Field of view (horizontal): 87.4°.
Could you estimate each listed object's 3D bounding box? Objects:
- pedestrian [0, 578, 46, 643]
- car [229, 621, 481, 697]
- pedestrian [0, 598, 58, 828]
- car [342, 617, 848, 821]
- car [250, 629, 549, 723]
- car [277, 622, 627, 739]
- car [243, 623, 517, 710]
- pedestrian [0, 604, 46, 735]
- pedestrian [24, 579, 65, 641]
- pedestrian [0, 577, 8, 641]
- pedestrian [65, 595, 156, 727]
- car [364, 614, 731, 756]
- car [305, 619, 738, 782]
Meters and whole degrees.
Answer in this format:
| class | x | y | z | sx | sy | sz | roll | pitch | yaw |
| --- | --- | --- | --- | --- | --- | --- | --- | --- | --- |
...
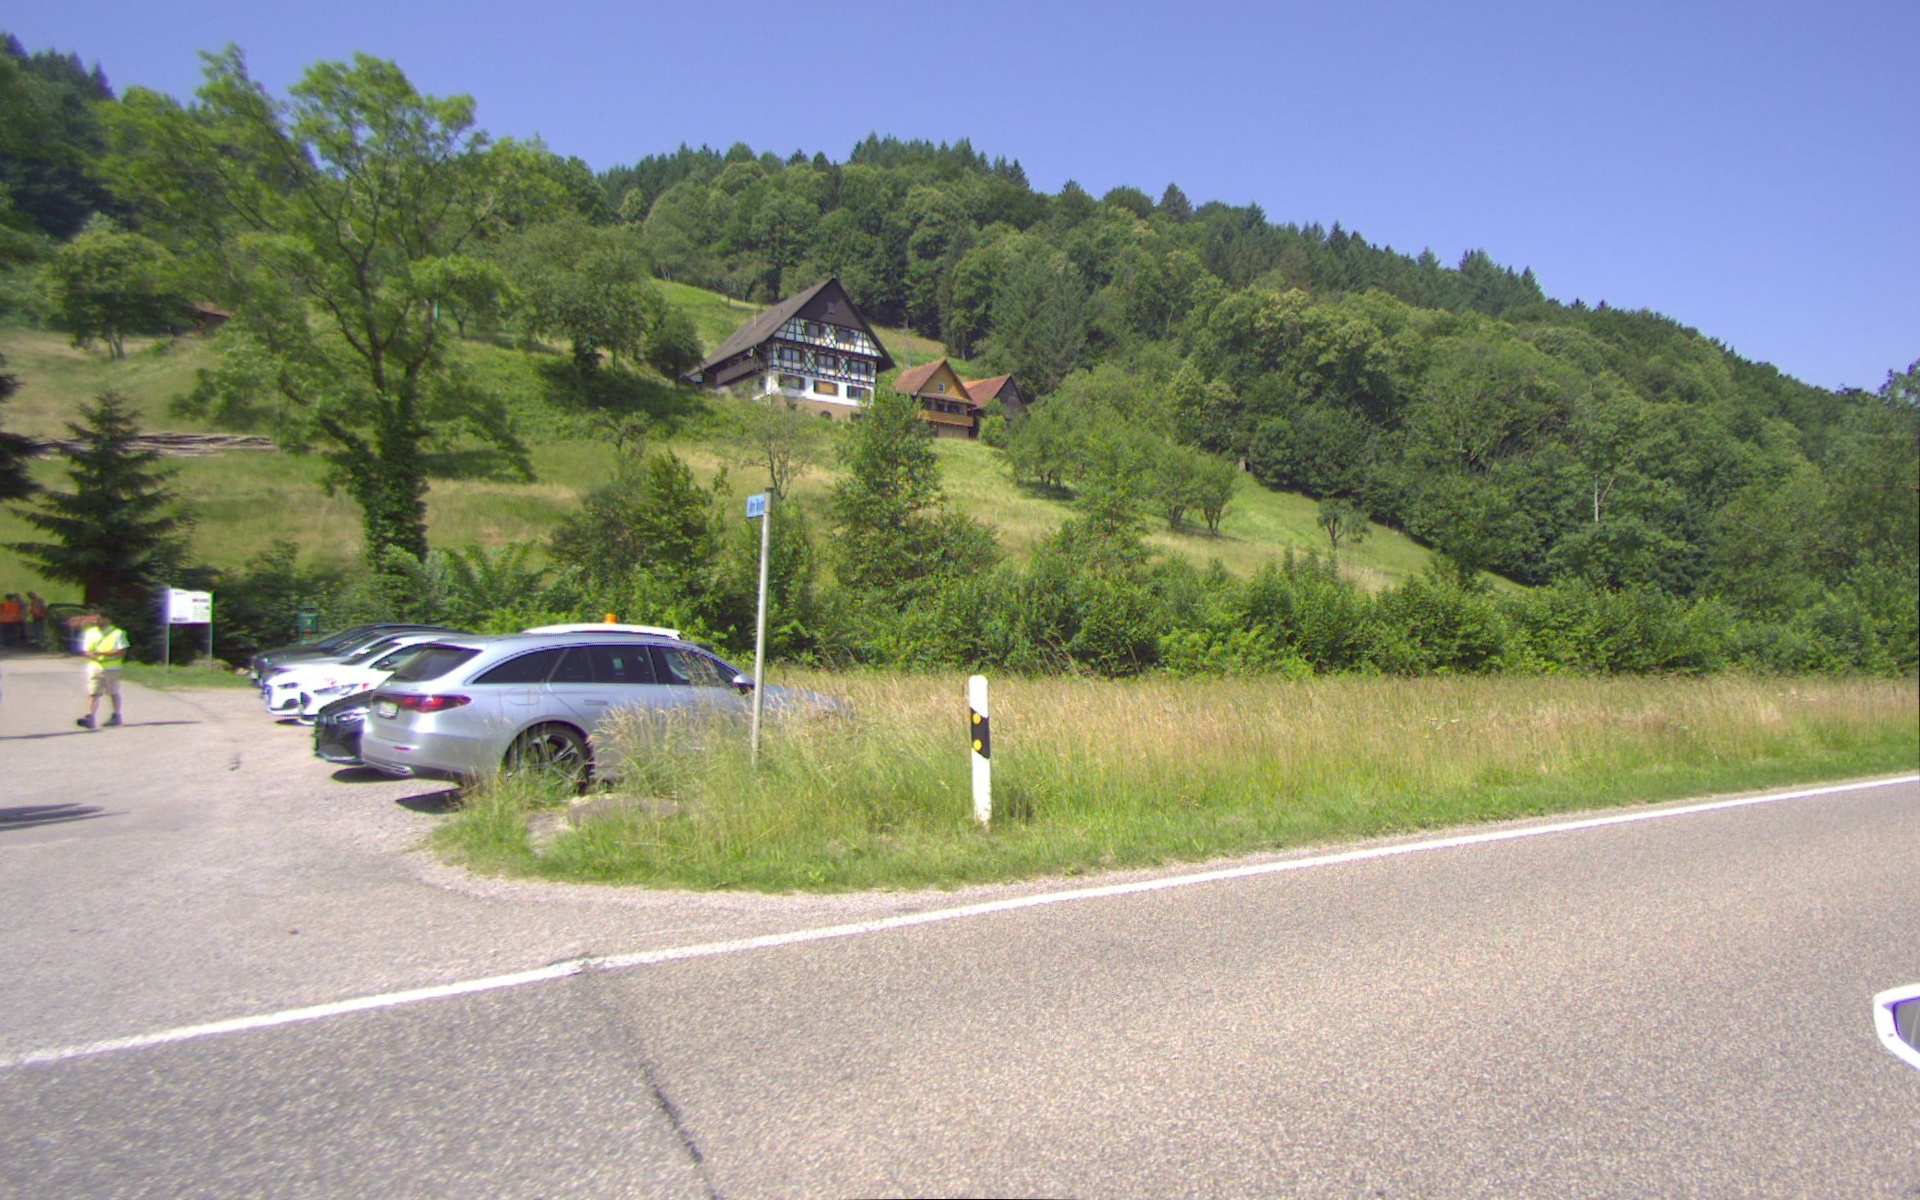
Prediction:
| class | x | y | z | sx | sy | sz | roll | pitch | yaw |
| --- | --- | --- | --- | --- | --- | --- | --- | --- | --- |
| pedestrian | -30.266 | 0.345 | 32.340 | 0.914 | 2.040 | 0.701 | 1 | -2 | 2 |
| car | -13.374 | 1.288 | 22.367 | 4.490 | 1.520 | 1.975 | 3 | -3 | -43 |
| pedestrian | -8.189 | 0.928 | 8.326 | 0.757 | 1.864 | 0.648 | 1 | -2 | -7 |
| car | -3.360 | 0.987 | 9.732 | 4.245 | 1.520 | 1.810 | 0 | -4 | -42 |
| car | -10.232 | 1.343 | 18.568 | 4.490 | 1.520 | 1.975 | 3 | -3 | -43 |
| car | -8.288 | 1.269 | 16.688 | 4.863 | 1.663 | 1.977 | 3 | -3 | -41 |
| car | -11.724 | 1.309 | 20.491 | 4.490 | 1.520 | 1.975 | 3 | -1 | -43 |
| pedestrian | -13.735 | 0.982 | 14.286 | 0.944 | 1.818 | 0.994 | -2 | -3 | 44 |
| pedestrian | -30.768 | 0.351 | 33.755 | 0.692 | 2.040 | 0.926 | -2 | -3 | 45 |
| pedestrian | -31.050 | 0.269 | 31.995 | 0.925 | 2.040 | 0.693 | 3 | -3 | -40 |
| pedestrian | -13.352 | 0.953 | 15.829 | 0.852 | 1.995 | 1.121 | 2 | -3 | -30 |
| car | -6.008 | 1.169 | 14.953 | 4.729 | 1.806 | 1.857 | 2 | -2 | -38 |
| car | -5.288 | 1.162 | 12.403 | 4.570 | 1.673 | 1.983 | 3 | -3 | -32 |
